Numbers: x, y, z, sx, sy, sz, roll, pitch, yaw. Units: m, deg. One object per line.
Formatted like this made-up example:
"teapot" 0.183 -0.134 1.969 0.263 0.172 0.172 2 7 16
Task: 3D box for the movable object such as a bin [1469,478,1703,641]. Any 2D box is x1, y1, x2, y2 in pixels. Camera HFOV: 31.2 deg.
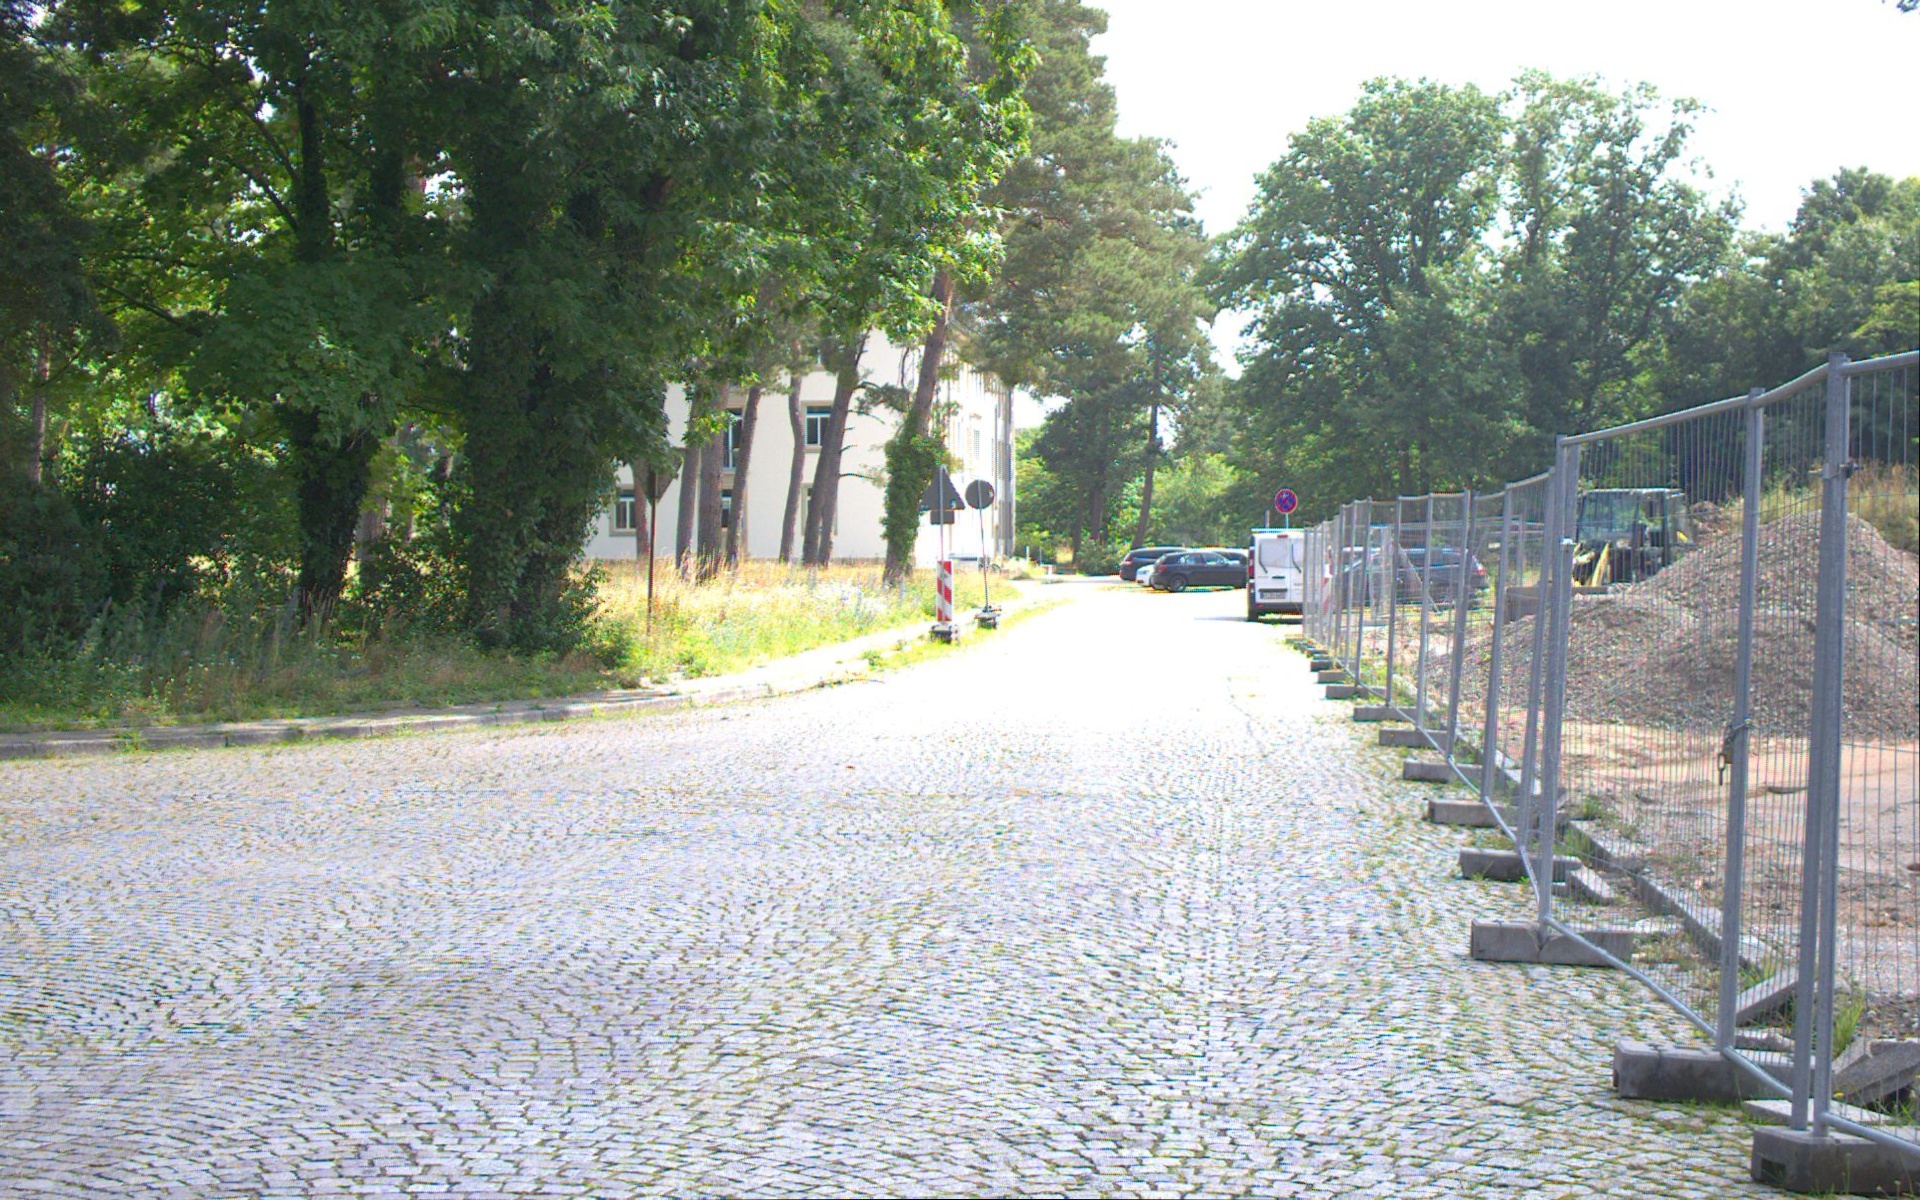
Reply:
"movable object such as a bin" 10.436 -0.684 57.072 2.132 2.584 4.782 1 1 33

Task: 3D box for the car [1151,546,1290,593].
"car" 9.327 -1.111 123.460 4.779 1.635 2.000 0 1 -1

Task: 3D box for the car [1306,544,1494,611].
"car" 10.823 -0.563 84.539 4.405 1.505 1.999 1 1 12

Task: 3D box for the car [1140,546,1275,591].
"car" 9.082 -1.170 126.588 4.779 1.635 2.000 0 1 -1

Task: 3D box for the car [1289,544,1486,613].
"car" 10.076 -0.516 80.875 4.405 1.505 1.999 1 1 12

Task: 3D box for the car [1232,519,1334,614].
"car" 7.045 -0.749 75.313 1.994 2.007 4.091 0 1 3
